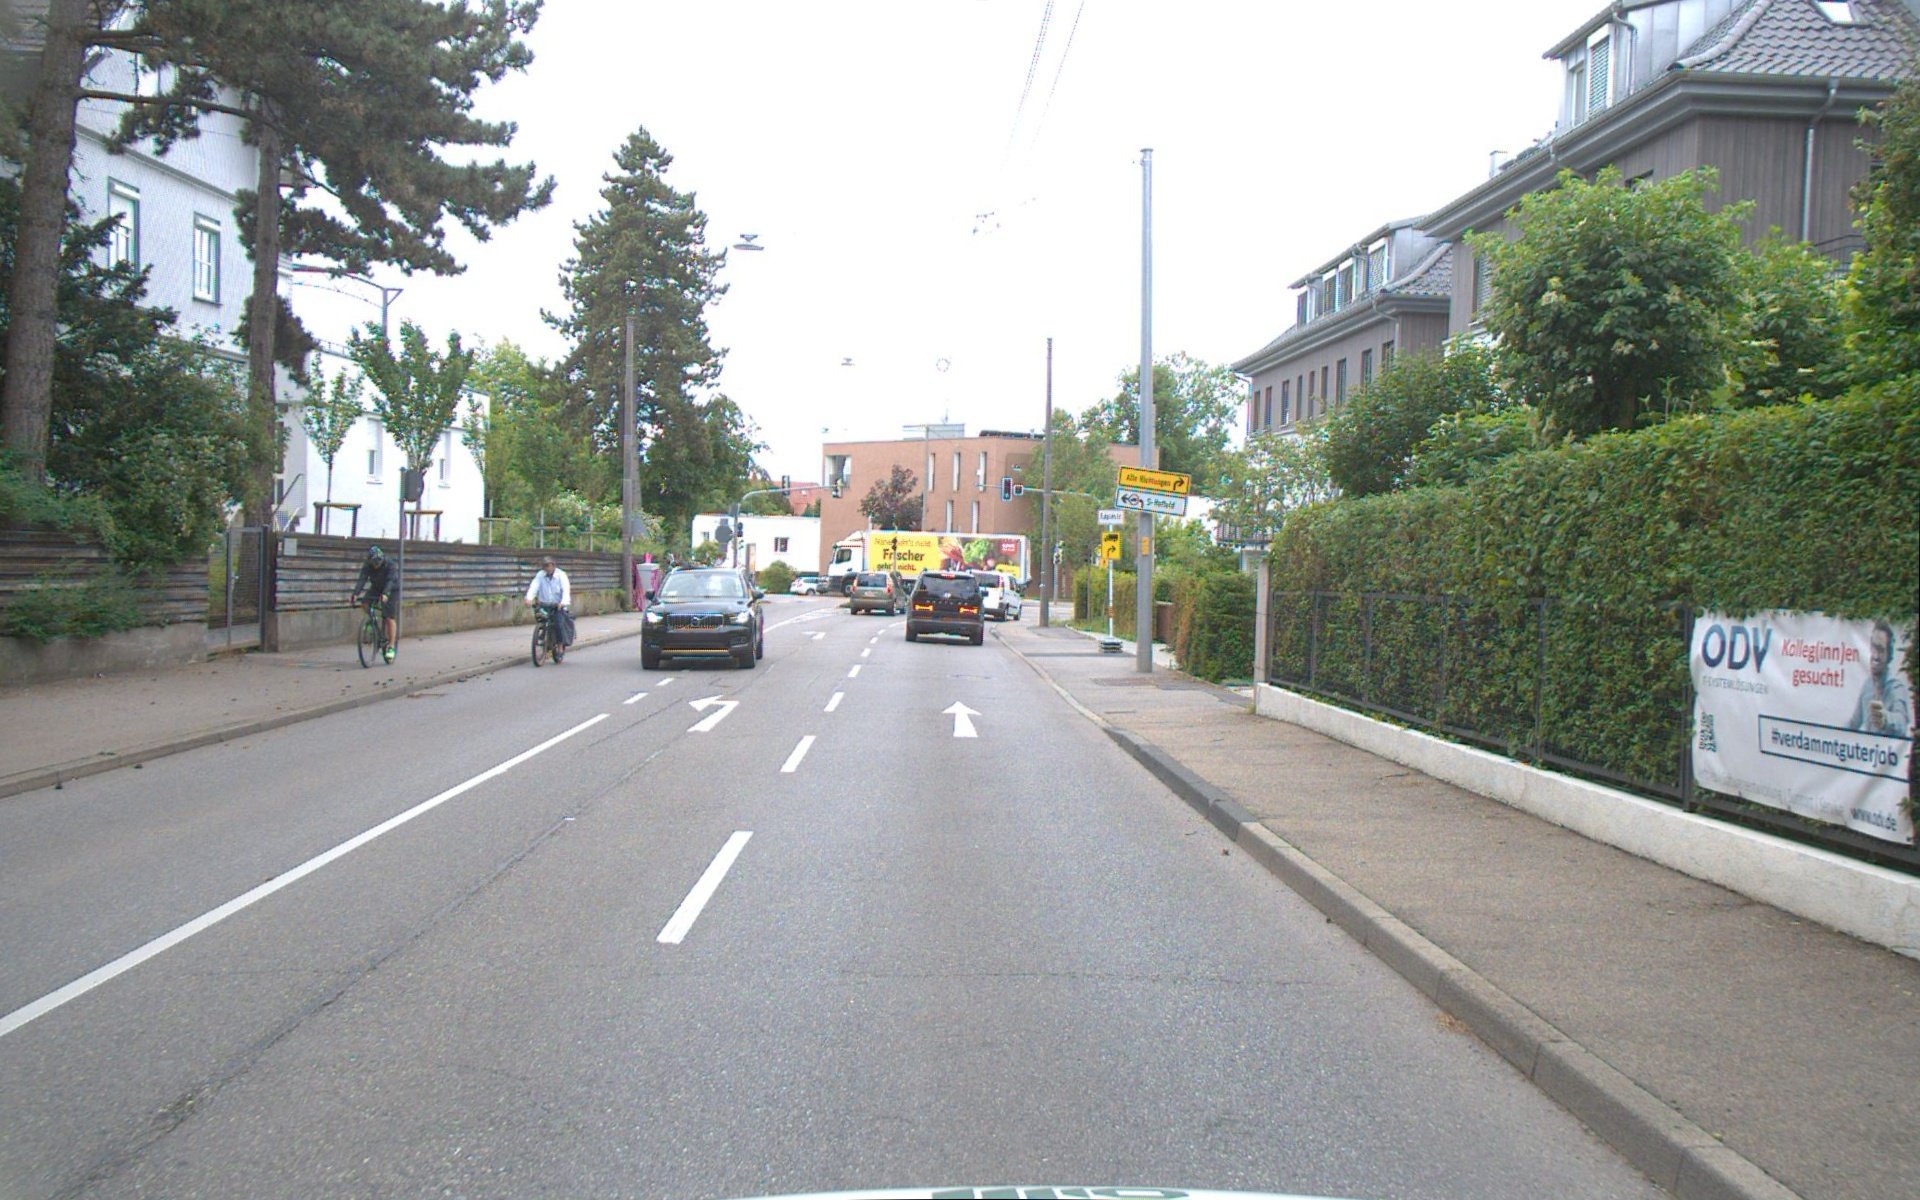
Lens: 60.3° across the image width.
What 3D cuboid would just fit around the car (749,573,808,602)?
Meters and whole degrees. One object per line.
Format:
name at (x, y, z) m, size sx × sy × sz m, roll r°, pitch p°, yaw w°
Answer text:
car at (-13.660, -0.931, 124.530) m, size 3.943 × 2.048 × 1.981 m, roll 1°, pitch 1°, yaw -29°

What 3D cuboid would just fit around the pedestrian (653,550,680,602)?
pedestrian at (-10.653, -0.880, 60.062) m, size 0.742 × 1.869 × 0.608 m, roll 2°, pitch 0°, yaw -30°

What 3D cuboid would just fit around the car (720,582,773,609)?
car at (-17.377, -0.348, 134.570) m, size 3.925 × 2.048 × 1.990 m, roll 2°, pitch 1°, yaw -18°

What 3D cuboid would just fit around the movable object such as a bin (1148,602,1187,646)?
movable object such as a bin at (5.492, 0.641, 43.701) m, size 0.709 × 1.092 × 0.673 m, roll 4°, pitch -1°, yaw -39°

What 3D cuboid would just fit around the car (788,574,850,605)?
car at (-10.023, -0.742, 117.588) m, size 3.944 × 2.048 × 1.981 m, roll 2°, pitch 1°, yaw -30°

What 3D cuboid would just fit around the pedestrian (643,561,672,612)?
pedestrian at (-10.944, -0.477, 59.821) m, size 0.804 × 1.794 × 0.861 m, roll 2°, pitch 0°, yaw -24°

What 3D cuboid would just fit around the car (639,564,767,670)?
car at (-4.275, 0.237, 28.023) m, size 1.796 × 1.659 × 4.279 m, roll 0°, pitch 1°, yaw -4°

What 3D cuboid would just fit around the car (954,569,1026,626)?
car at (1.234, -0.135, 66.168) m, size 1.921 × 2.048 × 4.432 m, roll 5°, pitch 2°, yaw 11°

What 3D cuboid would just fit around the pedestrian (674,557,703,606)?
pedestrian at (-9.950, -0.690, 60.663) m, size 0.683 × 1.764 × 0.748 m, roll 2°, pitch 1°, yaw 43°

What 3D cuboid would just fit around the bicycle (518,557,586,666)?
bicycle at (-6.884, 0.176, 28.019) m, size 0.743 × 1.775 × 1.870 m, roll 0°, pitch 0°, yaw -2°

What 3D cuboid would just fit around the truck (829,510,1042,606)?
truck at (-1.309, -2.365, 92.799) m, size 11.509 × 4.817 × 3.137 m, roll 2°, pitch 1°, yaw 4°

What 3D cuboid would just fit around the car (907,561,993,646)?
car at (-0.276, 0.101, 40.614) m, size 1.953 × 1.915 × 3.999 m, roll 2°, pitch -1°, yaw -1°

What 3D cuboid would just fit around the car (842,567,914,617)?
car at (-3.041, -0.296, 62.209) m, size 1.853 × 1.735 × 4.003 m, roll 2°, pitch 0°, yaw 10°

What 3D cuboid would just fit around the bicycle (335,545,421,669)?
bicycle at (-8.430, 0.086, 24.029) m, size 0.550 × 1.705 × 1.980 m, roll 2°, pitch 0°, yaw -2°
